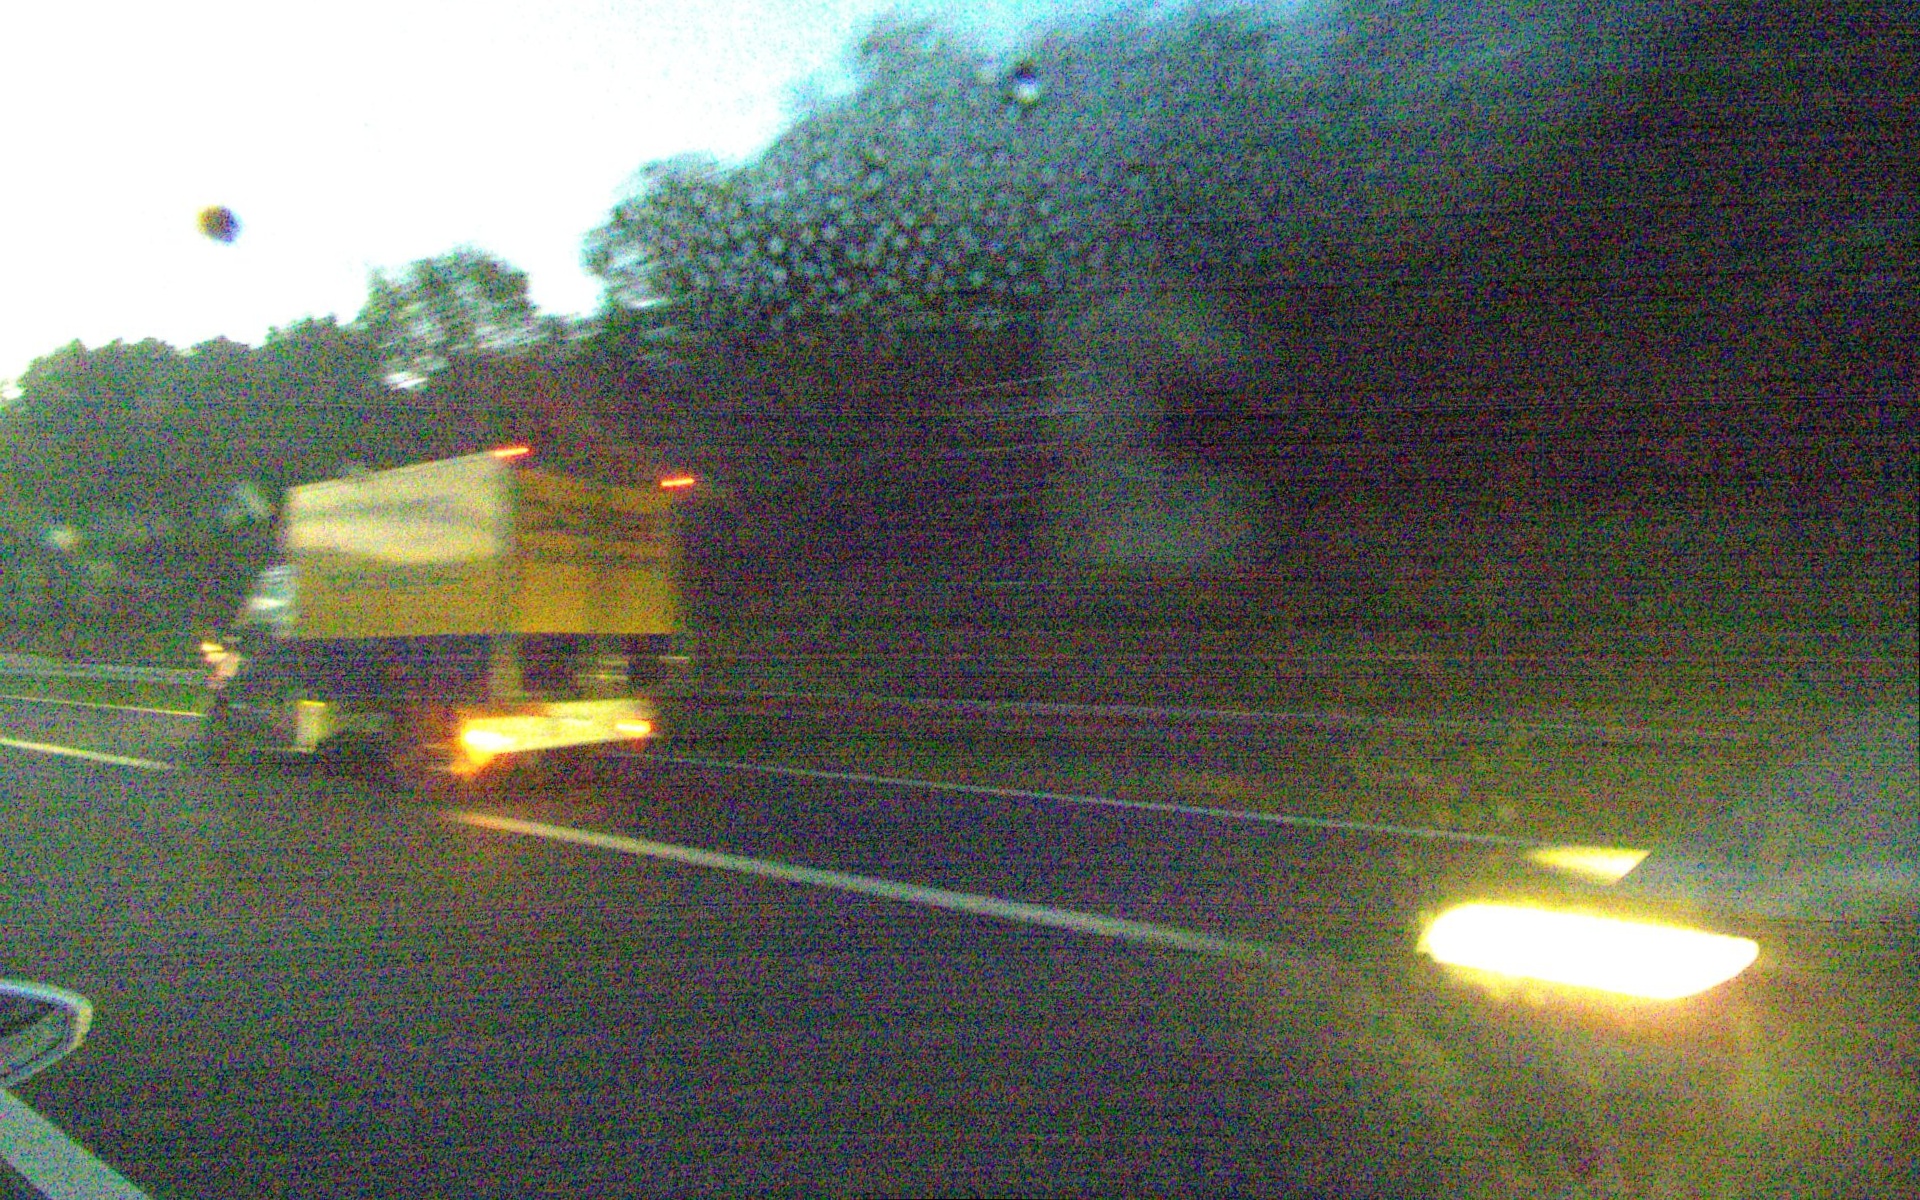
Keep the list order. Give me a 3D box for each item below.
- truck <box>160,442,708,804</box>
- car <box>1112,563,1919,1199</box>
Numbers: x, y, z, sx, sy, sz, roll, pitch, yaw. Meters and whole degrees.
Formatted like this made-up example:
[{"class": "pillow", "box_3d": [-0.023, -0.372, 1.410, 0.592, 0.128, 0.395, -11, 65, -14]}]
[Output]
[{"class": "truck", "box_3d": [-5.971, 0.274, 11.002, 6.534, 3.009, 2.266, -1, -2, 31]}, {"class": "car", "box_3d": [2.184, 0.717, 2.248, 3.270, 1.576, 1.607, -1, 0, 31]}]
